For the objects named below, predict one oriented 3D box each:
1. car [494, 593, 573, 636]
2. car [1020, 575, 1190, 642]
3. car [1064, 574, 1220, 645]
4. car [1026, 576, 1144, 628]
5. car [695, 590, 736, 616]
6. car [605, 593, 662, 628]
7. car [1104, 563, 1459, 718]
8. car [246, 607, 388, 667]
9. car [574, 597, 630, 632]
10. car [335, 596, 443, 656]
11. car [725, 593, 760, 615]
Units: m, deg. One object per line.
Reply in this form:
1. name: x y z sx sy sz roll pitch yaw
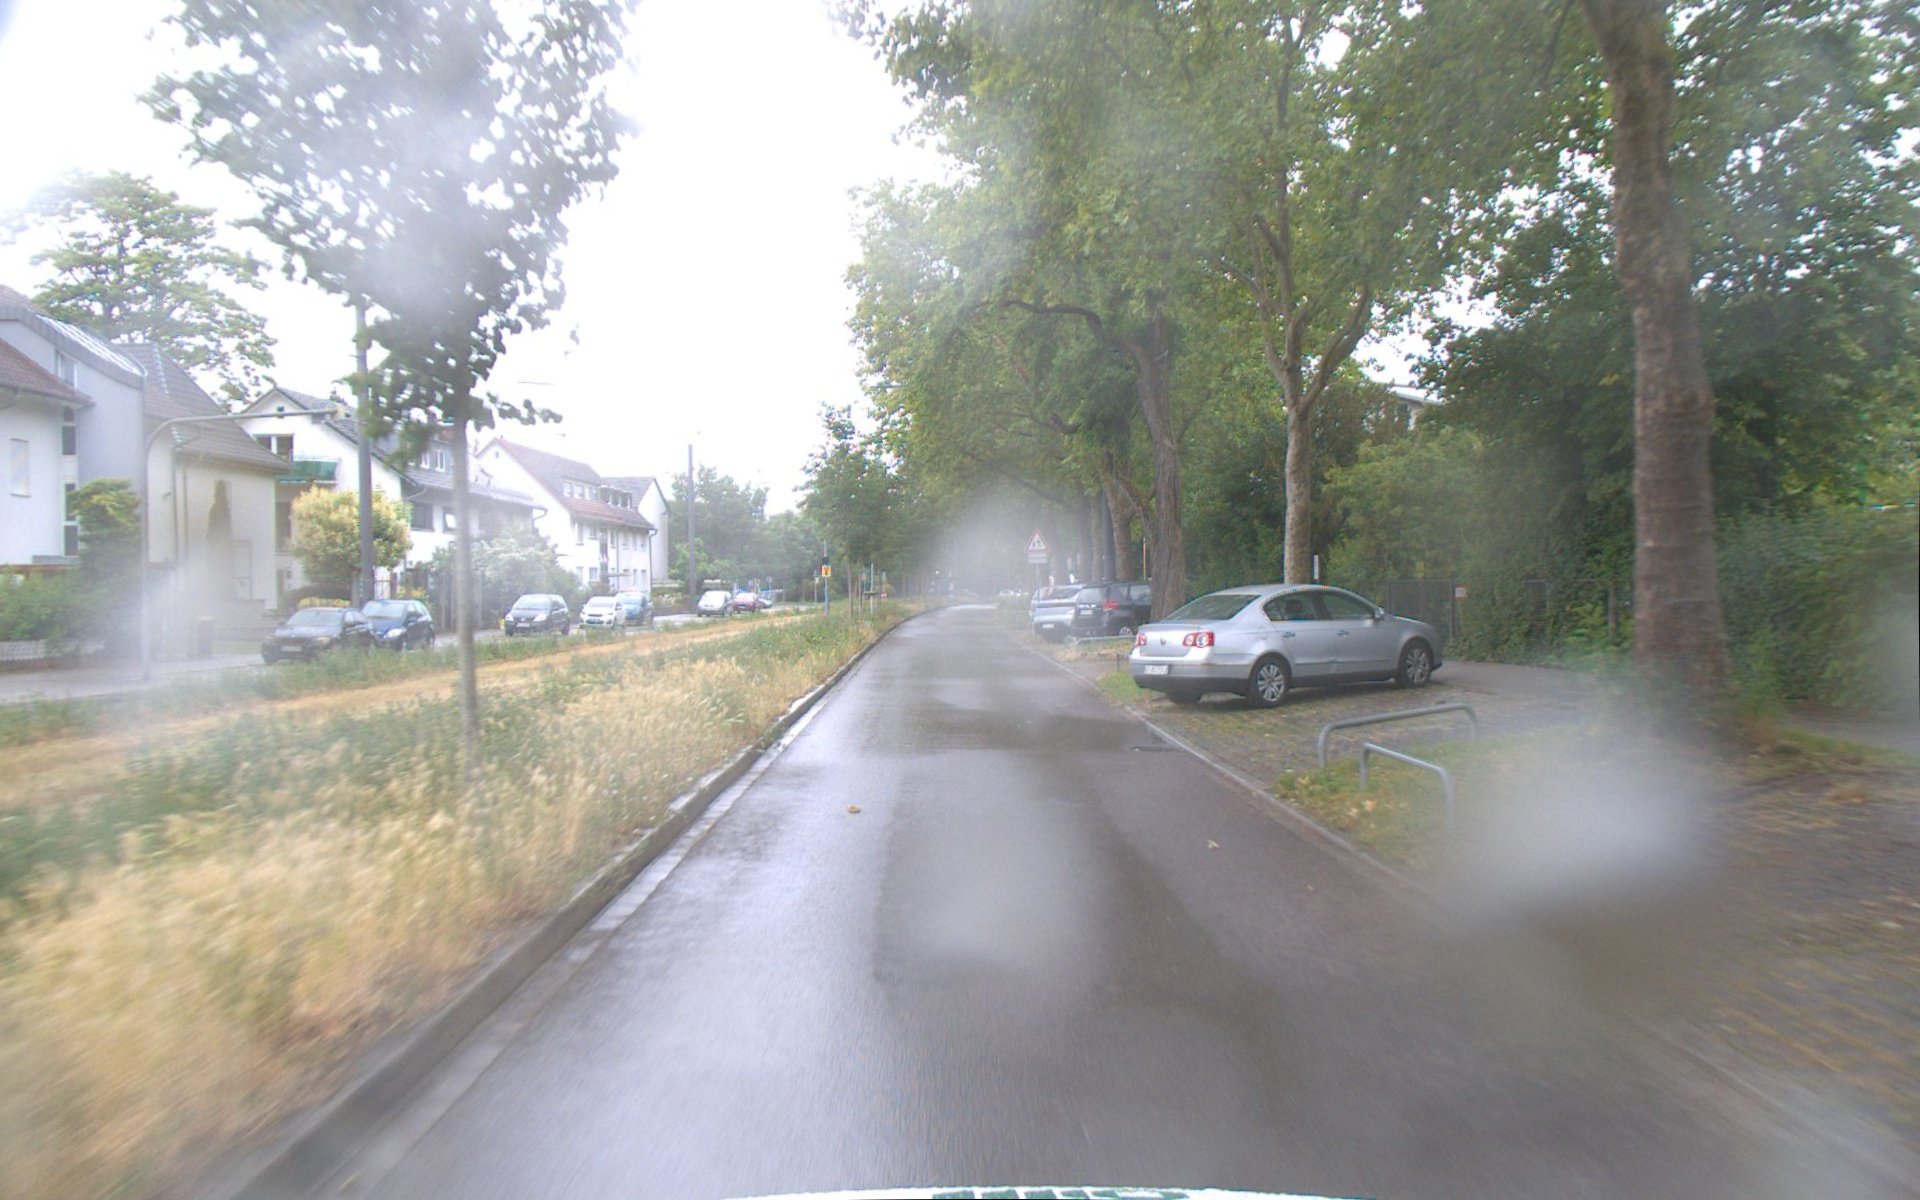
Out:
1. car: -16.641 0.548 64.678 1.952 1.542 4.206 1 1 0
2. car: 4.147 0.212 47.020 4.726 1.697 1.968 -2 1 -38
3. car: 4.539 0.217 41.003 3.669 1.593 1.600 -2 1 -34
4. car: 4.378 0.054 57.991 3.791 1.593 1.613 -3 1 -15
5. car: -15.787 0.179 106.889 1.952 1.608 4.517 1 1 0
6. car: -16.417 0.503 83.334 1.952 1.642 4.413 1 1 0
7. car: 4.248 0.459 21.600 4.506 1.571 1.866 -5 2 -33
8. car: -16.461 0.907 42.560 1.952 1.374 4.240 1 1 0
9. car: -16.541 0.639 76.533 1.759 1.514 3.597 1 1 0
10. car: -16.383 0.707 47.637 1.836 1.577 3.869 1 1 -1
11. car: -15.892 0.259 120.818 1.952 1.514 4.206 1 1 0
